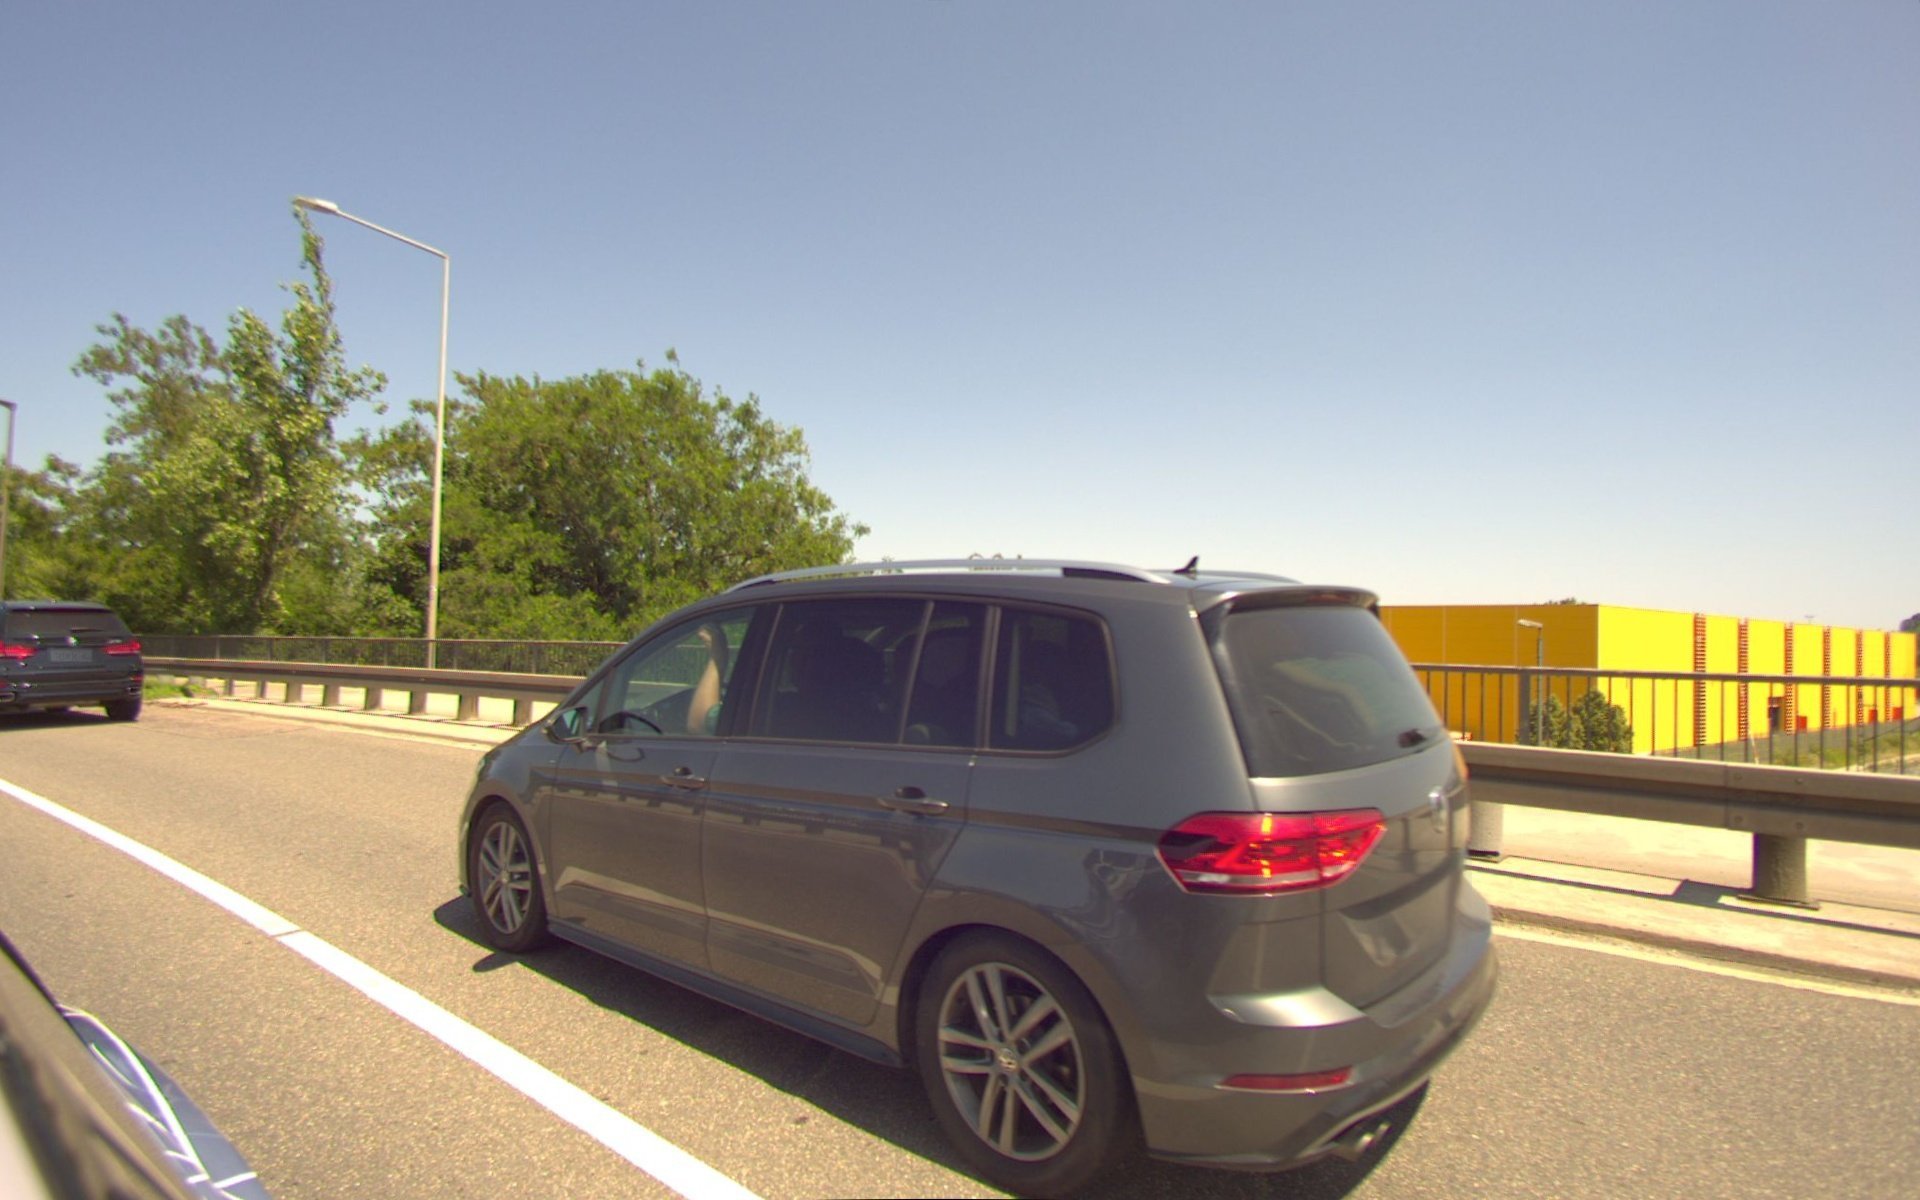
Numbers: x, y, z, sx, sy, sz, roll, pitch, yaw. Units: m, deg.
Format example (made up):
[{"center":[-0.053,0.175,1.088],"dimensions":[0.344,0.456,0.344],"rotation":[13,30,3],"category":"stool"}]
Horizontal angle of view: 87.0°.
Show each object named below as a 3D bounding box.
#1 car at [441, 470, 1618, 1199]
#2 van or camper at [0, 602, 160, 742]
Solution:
[{"center":[-0.160,0.621,3.869],"dimensions":[4.257,1.667,1.875],"rotation":[0,-1,42],"category":"car"},{"center":[-13.776,0.941,14.777],"dimensions":[4.686,1.774,1.977],"rotation":[0,-2,35],"category":"van or camper"}]
